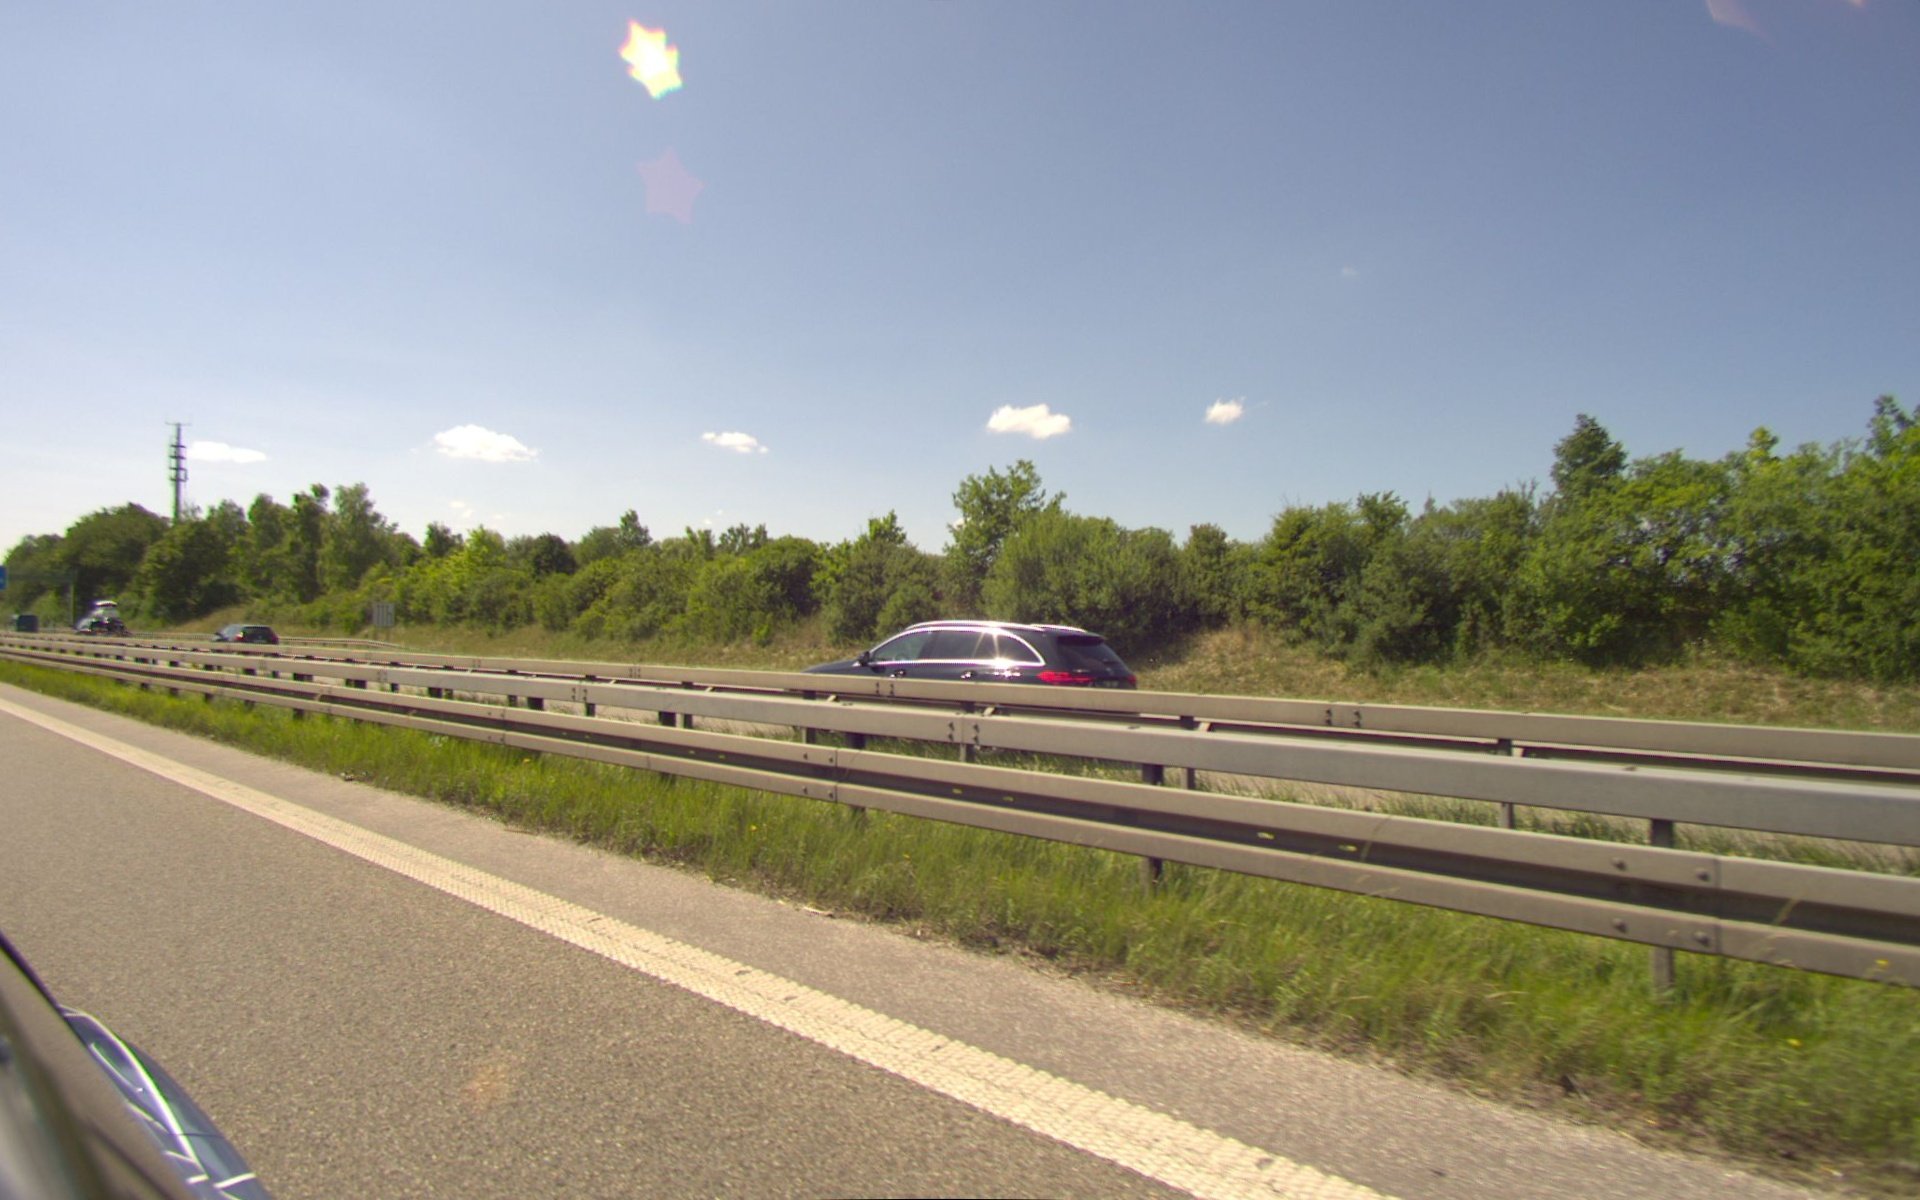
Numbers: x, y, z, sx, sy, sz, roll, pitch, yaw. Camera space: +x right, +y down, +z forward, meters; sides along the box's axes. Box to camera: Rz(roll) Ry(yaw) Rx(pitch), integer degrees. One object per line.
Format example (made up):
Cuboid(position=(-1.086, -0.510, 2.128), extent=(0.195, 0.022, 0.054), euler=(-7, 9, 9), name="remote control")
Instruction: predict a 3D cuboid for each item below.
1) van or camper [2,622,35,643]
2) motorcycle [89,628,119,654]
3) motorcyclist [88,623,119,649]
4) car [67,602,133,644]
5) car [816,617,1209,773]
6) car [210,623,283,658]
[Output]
Cuboid(position=(-107.053, 3.714, 115.014), extent=(6.237, 2.410, 1.973), euler=(-2, -3, 41), name="van or camper")
Cuboid(position=(-36.784, 1.741, 43.495), extent=(1.880, 1.084, 0.657), euler=(-1, -3, 41), name="motorcycle")
Cuboid(position=(-36.857, 1.560, 43.571), extent=(0.810, 1.084, 0.866), euler=(-1, -4, 41), name="motorcyclist")
Cuboid(position=(-46.452, 1.261, 54.643), extent=(4.298, 2.125, 1.973), euler=(-1, -3, 40), name="car")
Cuboid(position=(0.473, 0.933, 11.602), extent=(4.201, 1.450, 1.973), euler=(-1, -2, 41), name="car")
Cuboid(position=(-31.730, 1.772, 44.958), extent=(4.230, 1.470, 1.724), euler=(-1, -1, 41), name="car")
